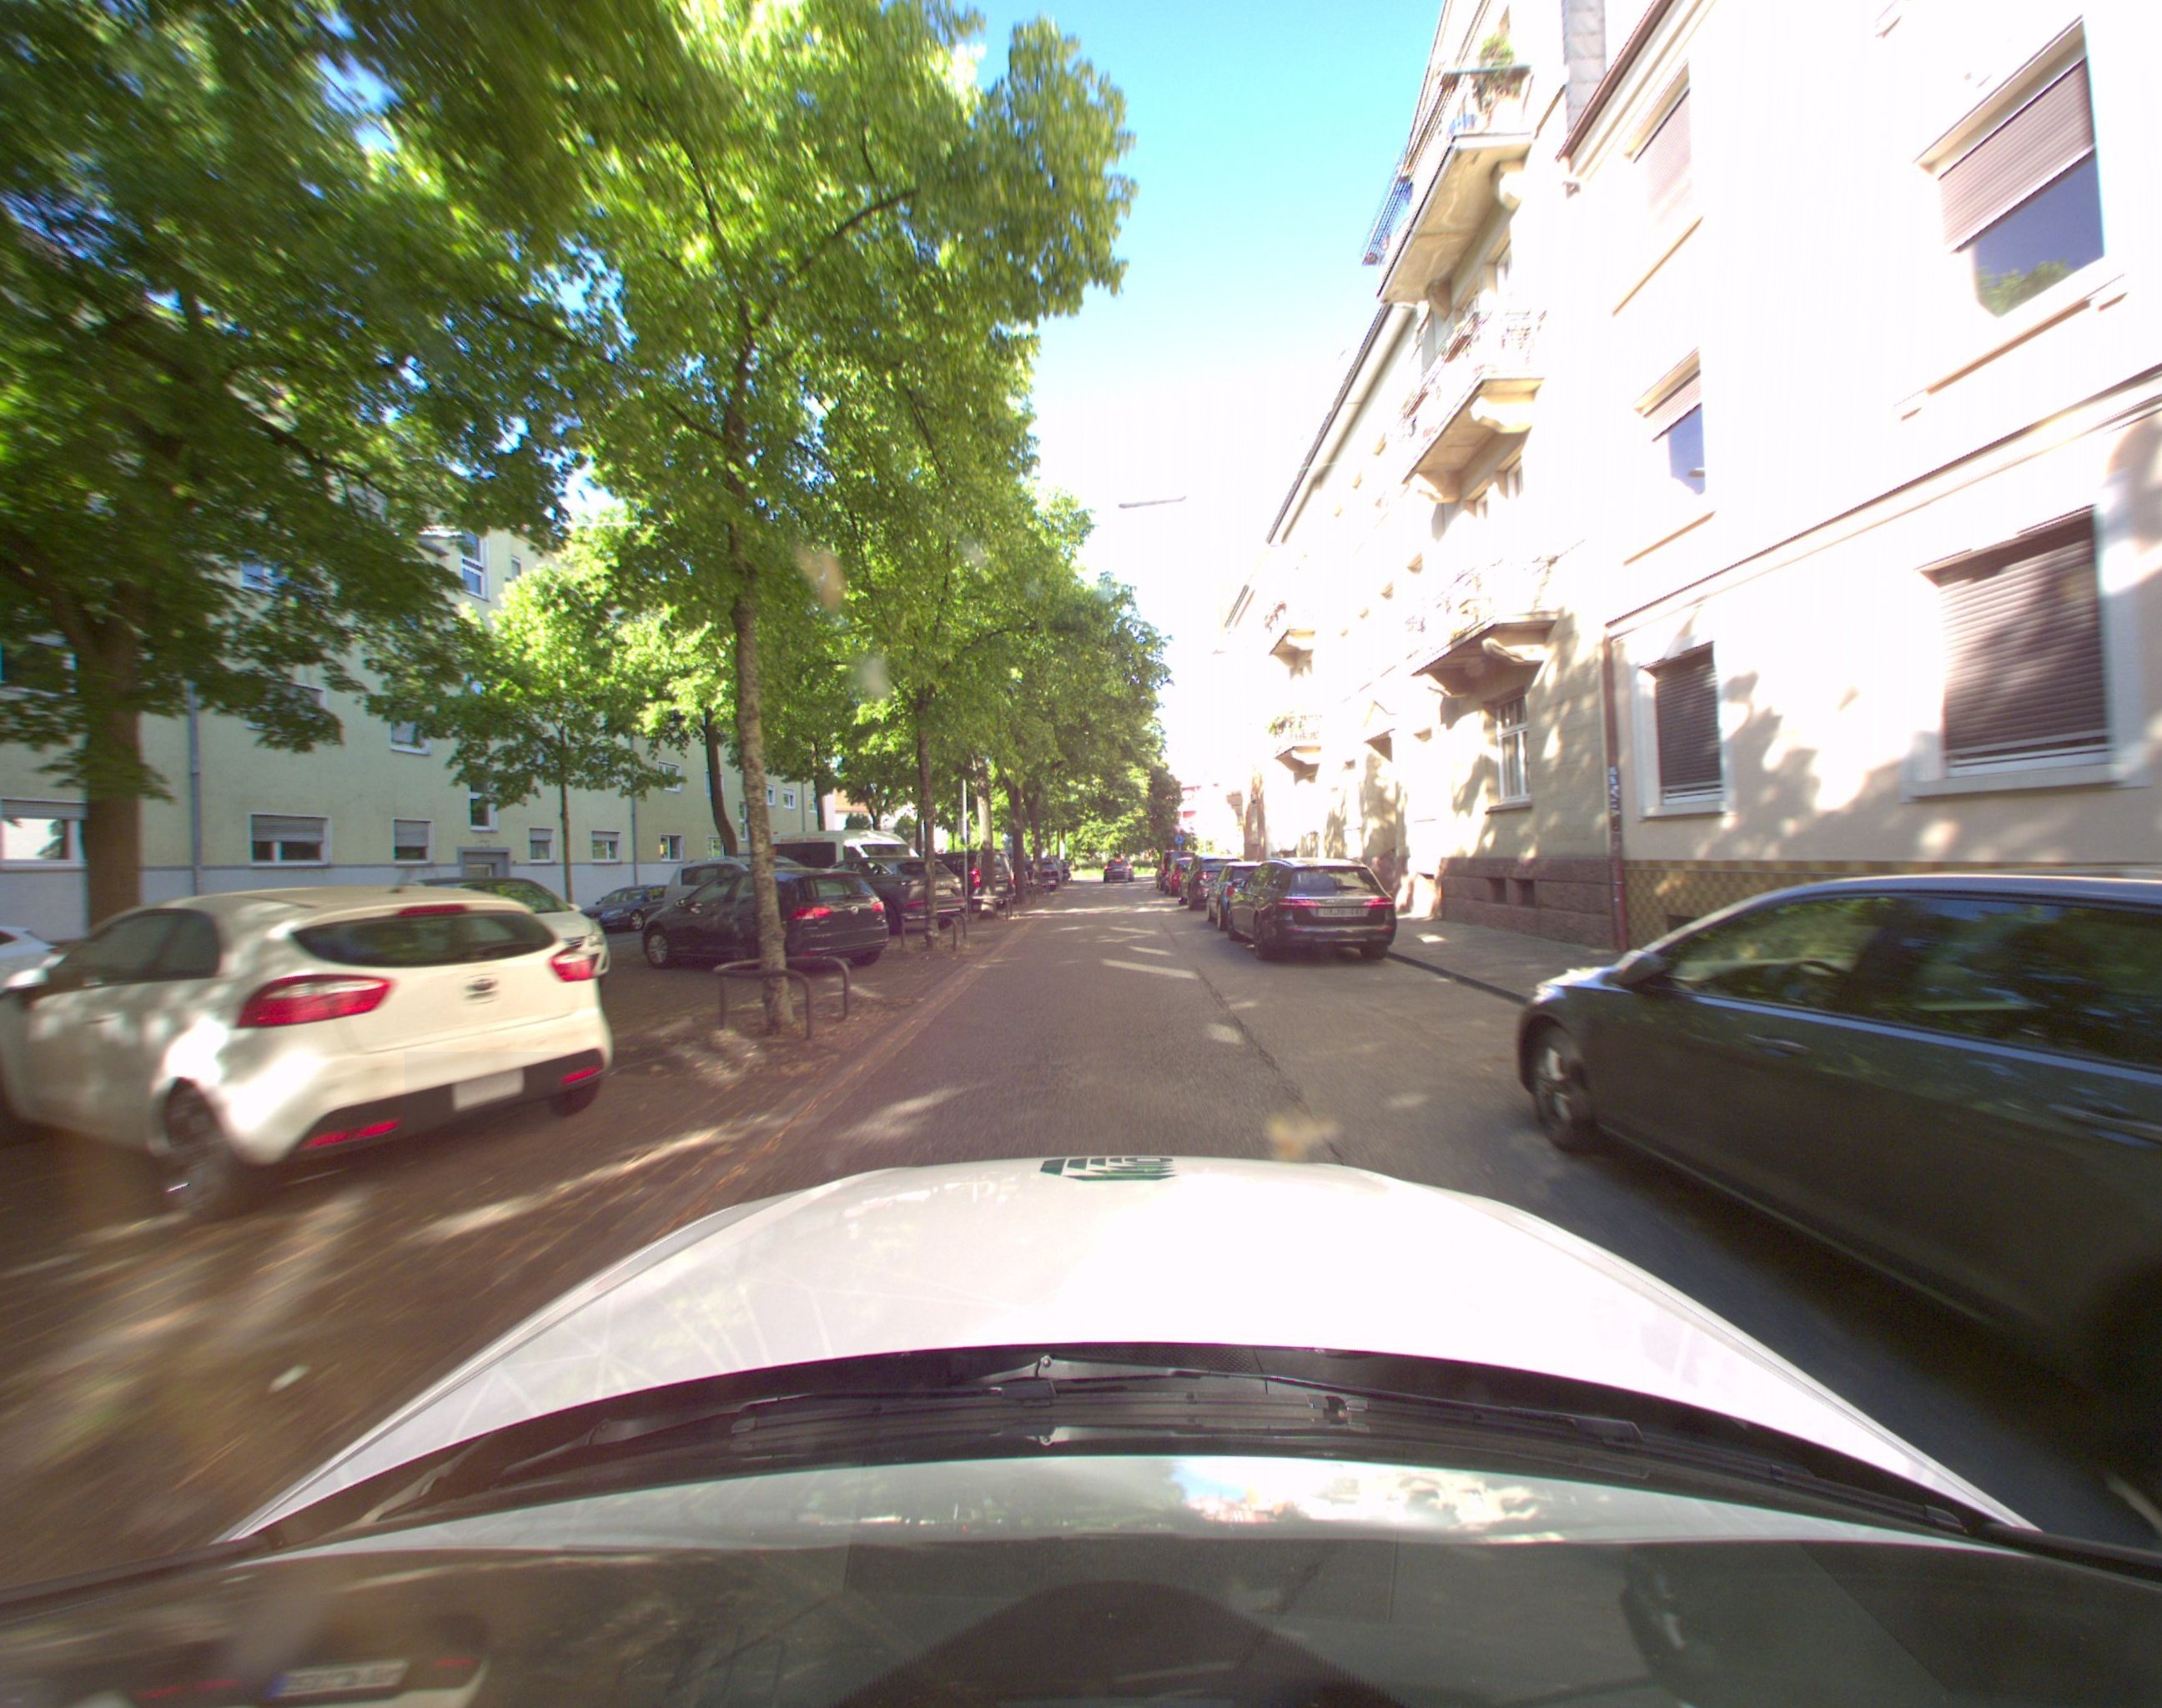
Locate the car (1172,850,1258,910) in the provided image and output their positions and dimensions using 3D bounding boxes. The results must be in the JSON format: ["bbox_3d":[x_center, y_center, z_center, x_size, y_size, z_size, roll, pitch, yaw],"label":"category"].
[{"bbox_3d":[4.027,0.731,25.138,1.858,1.643,4.490,-1,0,0],"label":"car"}]

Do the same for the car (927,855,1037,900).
[{"bbox_3d":[-3.716,0.871,30.665,3.699,1.582,1.643,-2,0,14],"label":"car"}]

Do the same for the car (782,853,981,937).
[{"bbox_3d":[-4.405,0.841,17.798,4.221,1.641,1.665,-1,0,30],"label":"car"}]

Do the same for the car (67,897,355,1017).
[{"bbox_3d":[-14.920,1.679,14.236,1.469,1.559,3.184,-4,0,1],"label":"car"}]

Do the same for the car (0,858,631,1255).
[{"bbox_3d":[-4.780,0.874,4.960,3.648,1.596,1.783,-1,0,27],"label":"car"}]

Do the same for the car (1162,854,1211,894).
[{"bbox_3d":[4.303,0.780,33.688,1.639,1.537,4.002,0,0,2],"label":"car"}]

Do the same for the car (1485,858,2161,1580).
[{"bbox_3d":[3.160,0.782,2.772,1.685,1.468,4.007,-1,0,2],"label":"car"}]

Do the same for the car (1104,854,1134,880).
[{"bbox_3d":[2.383,0.775,50.267,1.707,1.483,4.148,-2,0,3],"label":"car"}]

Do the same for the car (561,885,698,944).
[{"bbox_3d":[-14.515,1.883,26.516,1.765,1.517,4.593,-1,0,2],"label":"car"}]

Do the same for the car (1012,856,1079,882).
[{"bbox_3d":[-2.236,0.951,51.212,4.089,1.481,1.787,-3,-1,42],"label":"car"}]

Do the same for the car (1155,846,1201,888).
[{"bbox_3d":[4.588,0.593,39.029,1.794,1.871,4.275,1,0,2],"label":"car"}]

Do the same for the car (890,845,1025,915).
[{"bbox_3d":[-3.783,0.781,24.676,3.801,1.888,1.856,-2,0,38],"label":"car"}]

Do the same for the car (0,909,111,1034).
[{"bbox_3d":[-15.308,1.674,9.919,1.886,1.565,4.160,-4,0,0],"label":"car"}]

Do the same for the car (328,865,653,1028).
[{"bbox_3d":[-7.301,1.038,9.998,3.865,1.555,1.858,-3,0,32],"label":"car"}]

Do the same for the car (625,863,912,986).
[{"bbox_3d":[-4.628,0.957,11.920,4.056,1.481,1.743,-2,-1,31],"label":"car"}]

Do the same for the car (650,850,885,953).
[{"bbox_3d":[-6.185,0.911,15.973,4.337,1.777,1.911,-3,-1,29],"label":"car"}]

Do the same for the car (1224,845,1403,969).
[{"bbox_3d":[3.488,0.700,13.056,1.797,1.563,4.325,-4,0,3],"label":"car"}]

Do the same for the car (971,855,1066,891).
[{"bbox_3d":[-2.730,0.836,36.175,4.077,1.466,1.866,-1,-1,-2],"label":"car"}]

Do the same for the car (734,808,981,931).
[{"bbox_3d":[-6.157,0.476,22.598,6.017,2.623,2.466,-7,-2,17],"label":"car"}]

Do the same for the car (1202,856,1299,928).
[{"bbox_3d":[3.683,0.775,18.234,1.583,1.415,3.635,-1,0,3],"label":"car"}]
